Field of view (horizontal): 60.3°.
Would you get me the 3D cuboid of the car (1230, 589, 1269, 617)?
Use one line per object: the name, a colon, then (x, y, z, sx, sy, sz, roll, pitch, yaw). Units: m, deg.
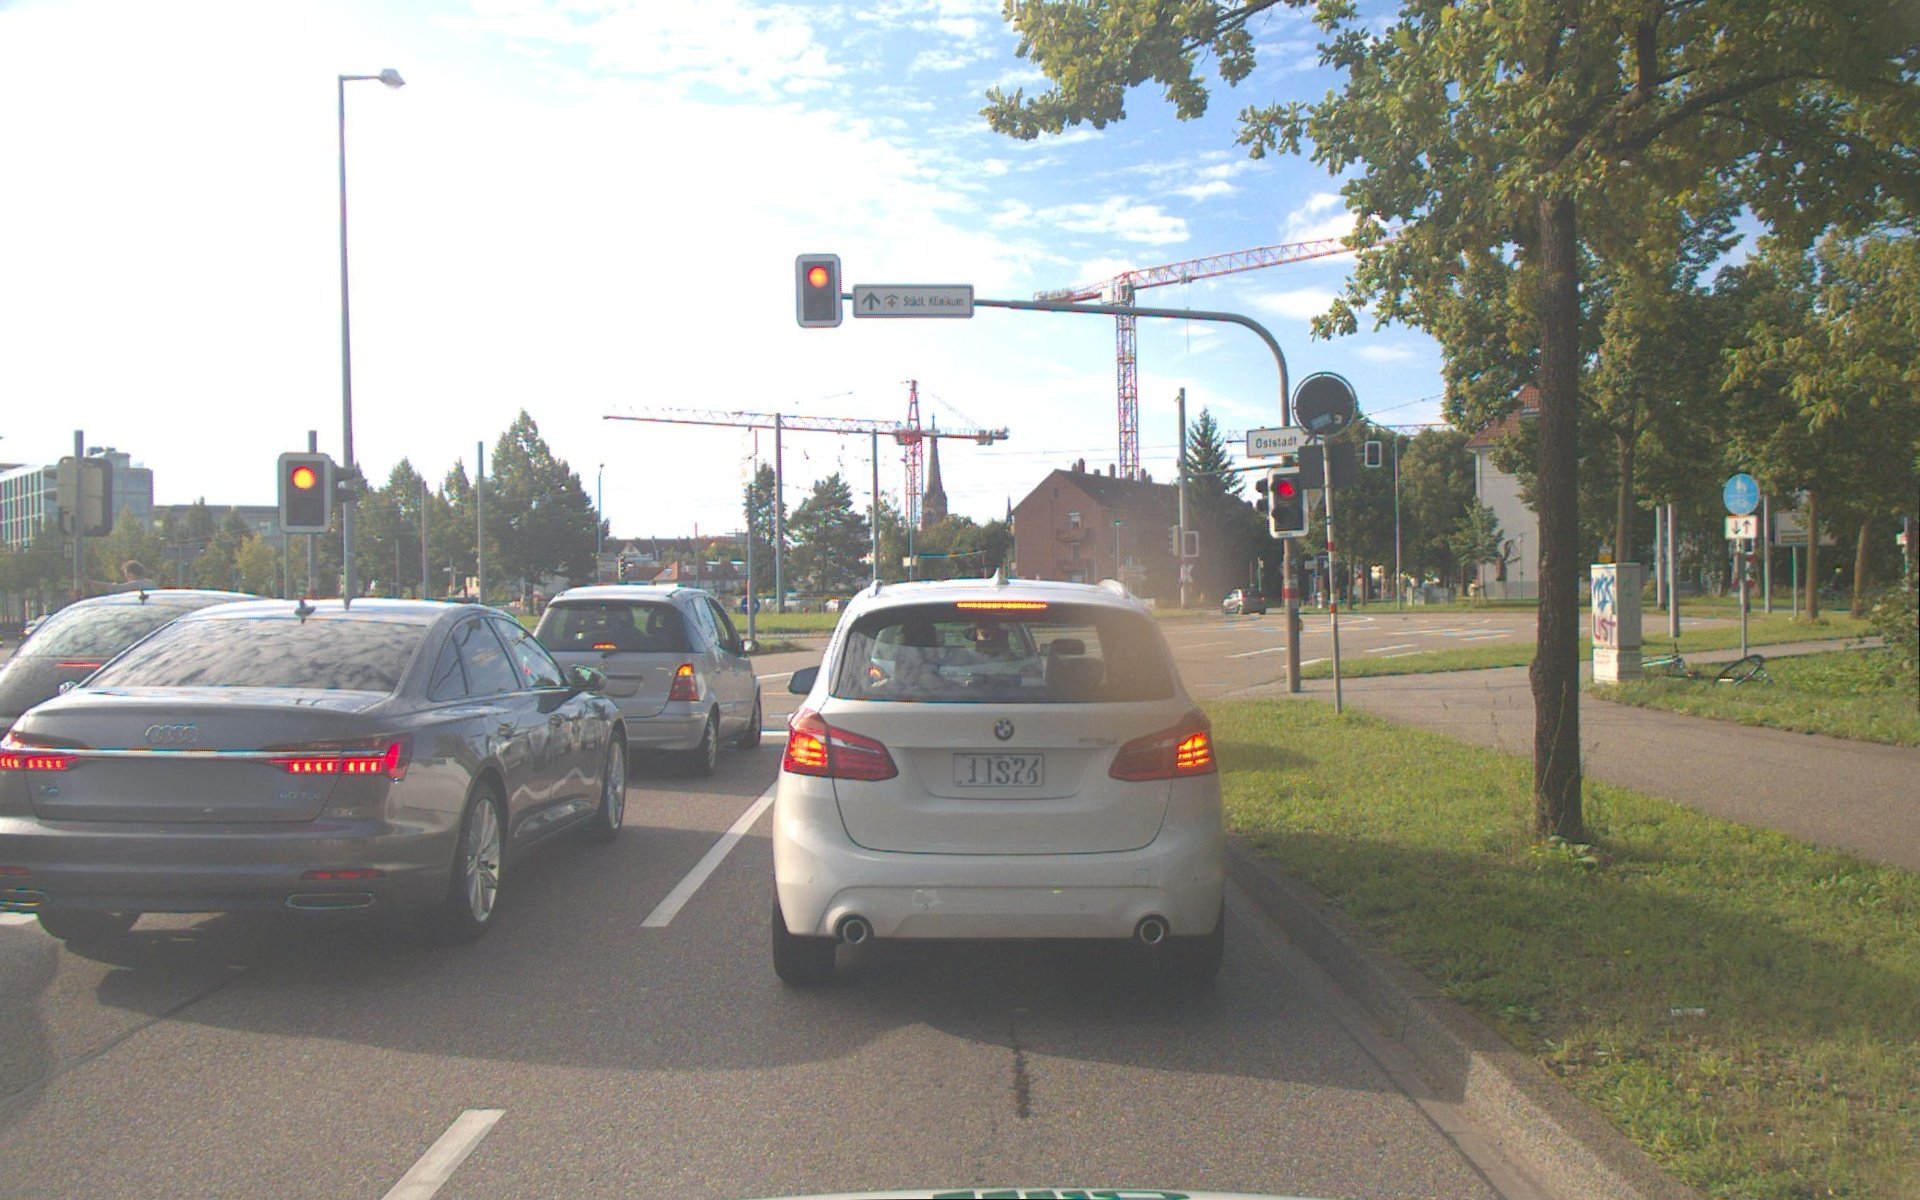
car: (16.982, 0.171, 97.068, 1.539, 1.601, 3.196, -1, 0, -4)

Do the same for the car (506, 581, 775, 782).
car: (-2.759, 0.639, 15.133, 1.694, 1.585, 4.057, 0, 0, -1)

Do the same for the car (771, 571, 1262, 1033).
car: (0.164, 0.687, 7.724, 1.694, 1.585, 4.057, 0, 0, -1)

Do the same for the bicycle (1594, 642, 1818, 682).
bicycle: (9.501, 0.779, 21.238, 1.382, 0.392, 2.569, -2, 0, -12)

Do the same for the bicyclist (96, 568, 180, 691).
bicyclist: (-10.714, 0.377, 21.578, 0.835, 1.553, 0.737, -1, 0, -17)

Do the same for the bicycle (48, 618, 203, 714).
bicycle: (-10.839, 0.845, 21.536, 1.698, 1.184, 0.653, -1, 0, -17)

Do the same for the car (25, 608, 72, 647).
car: (-40.292, 1.190, 73.170, 1.686, 1.601, 3.963, -1, 0, -28)

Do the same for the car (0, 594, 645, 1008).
car: (-2.926, 0.744, 8.363, 1.851, 1.509, 4.612, 0, 0, -1)

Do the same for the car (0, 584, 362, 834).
car: (-5.881, 0.673, 12.165, 1.646, 1.549, 3.809, 0, 0, -1)

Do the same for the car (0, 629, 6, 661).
car: (-49.399, 2.311, 83.087, 1.759, 1.602, 3.979, -2, 0, -18)
